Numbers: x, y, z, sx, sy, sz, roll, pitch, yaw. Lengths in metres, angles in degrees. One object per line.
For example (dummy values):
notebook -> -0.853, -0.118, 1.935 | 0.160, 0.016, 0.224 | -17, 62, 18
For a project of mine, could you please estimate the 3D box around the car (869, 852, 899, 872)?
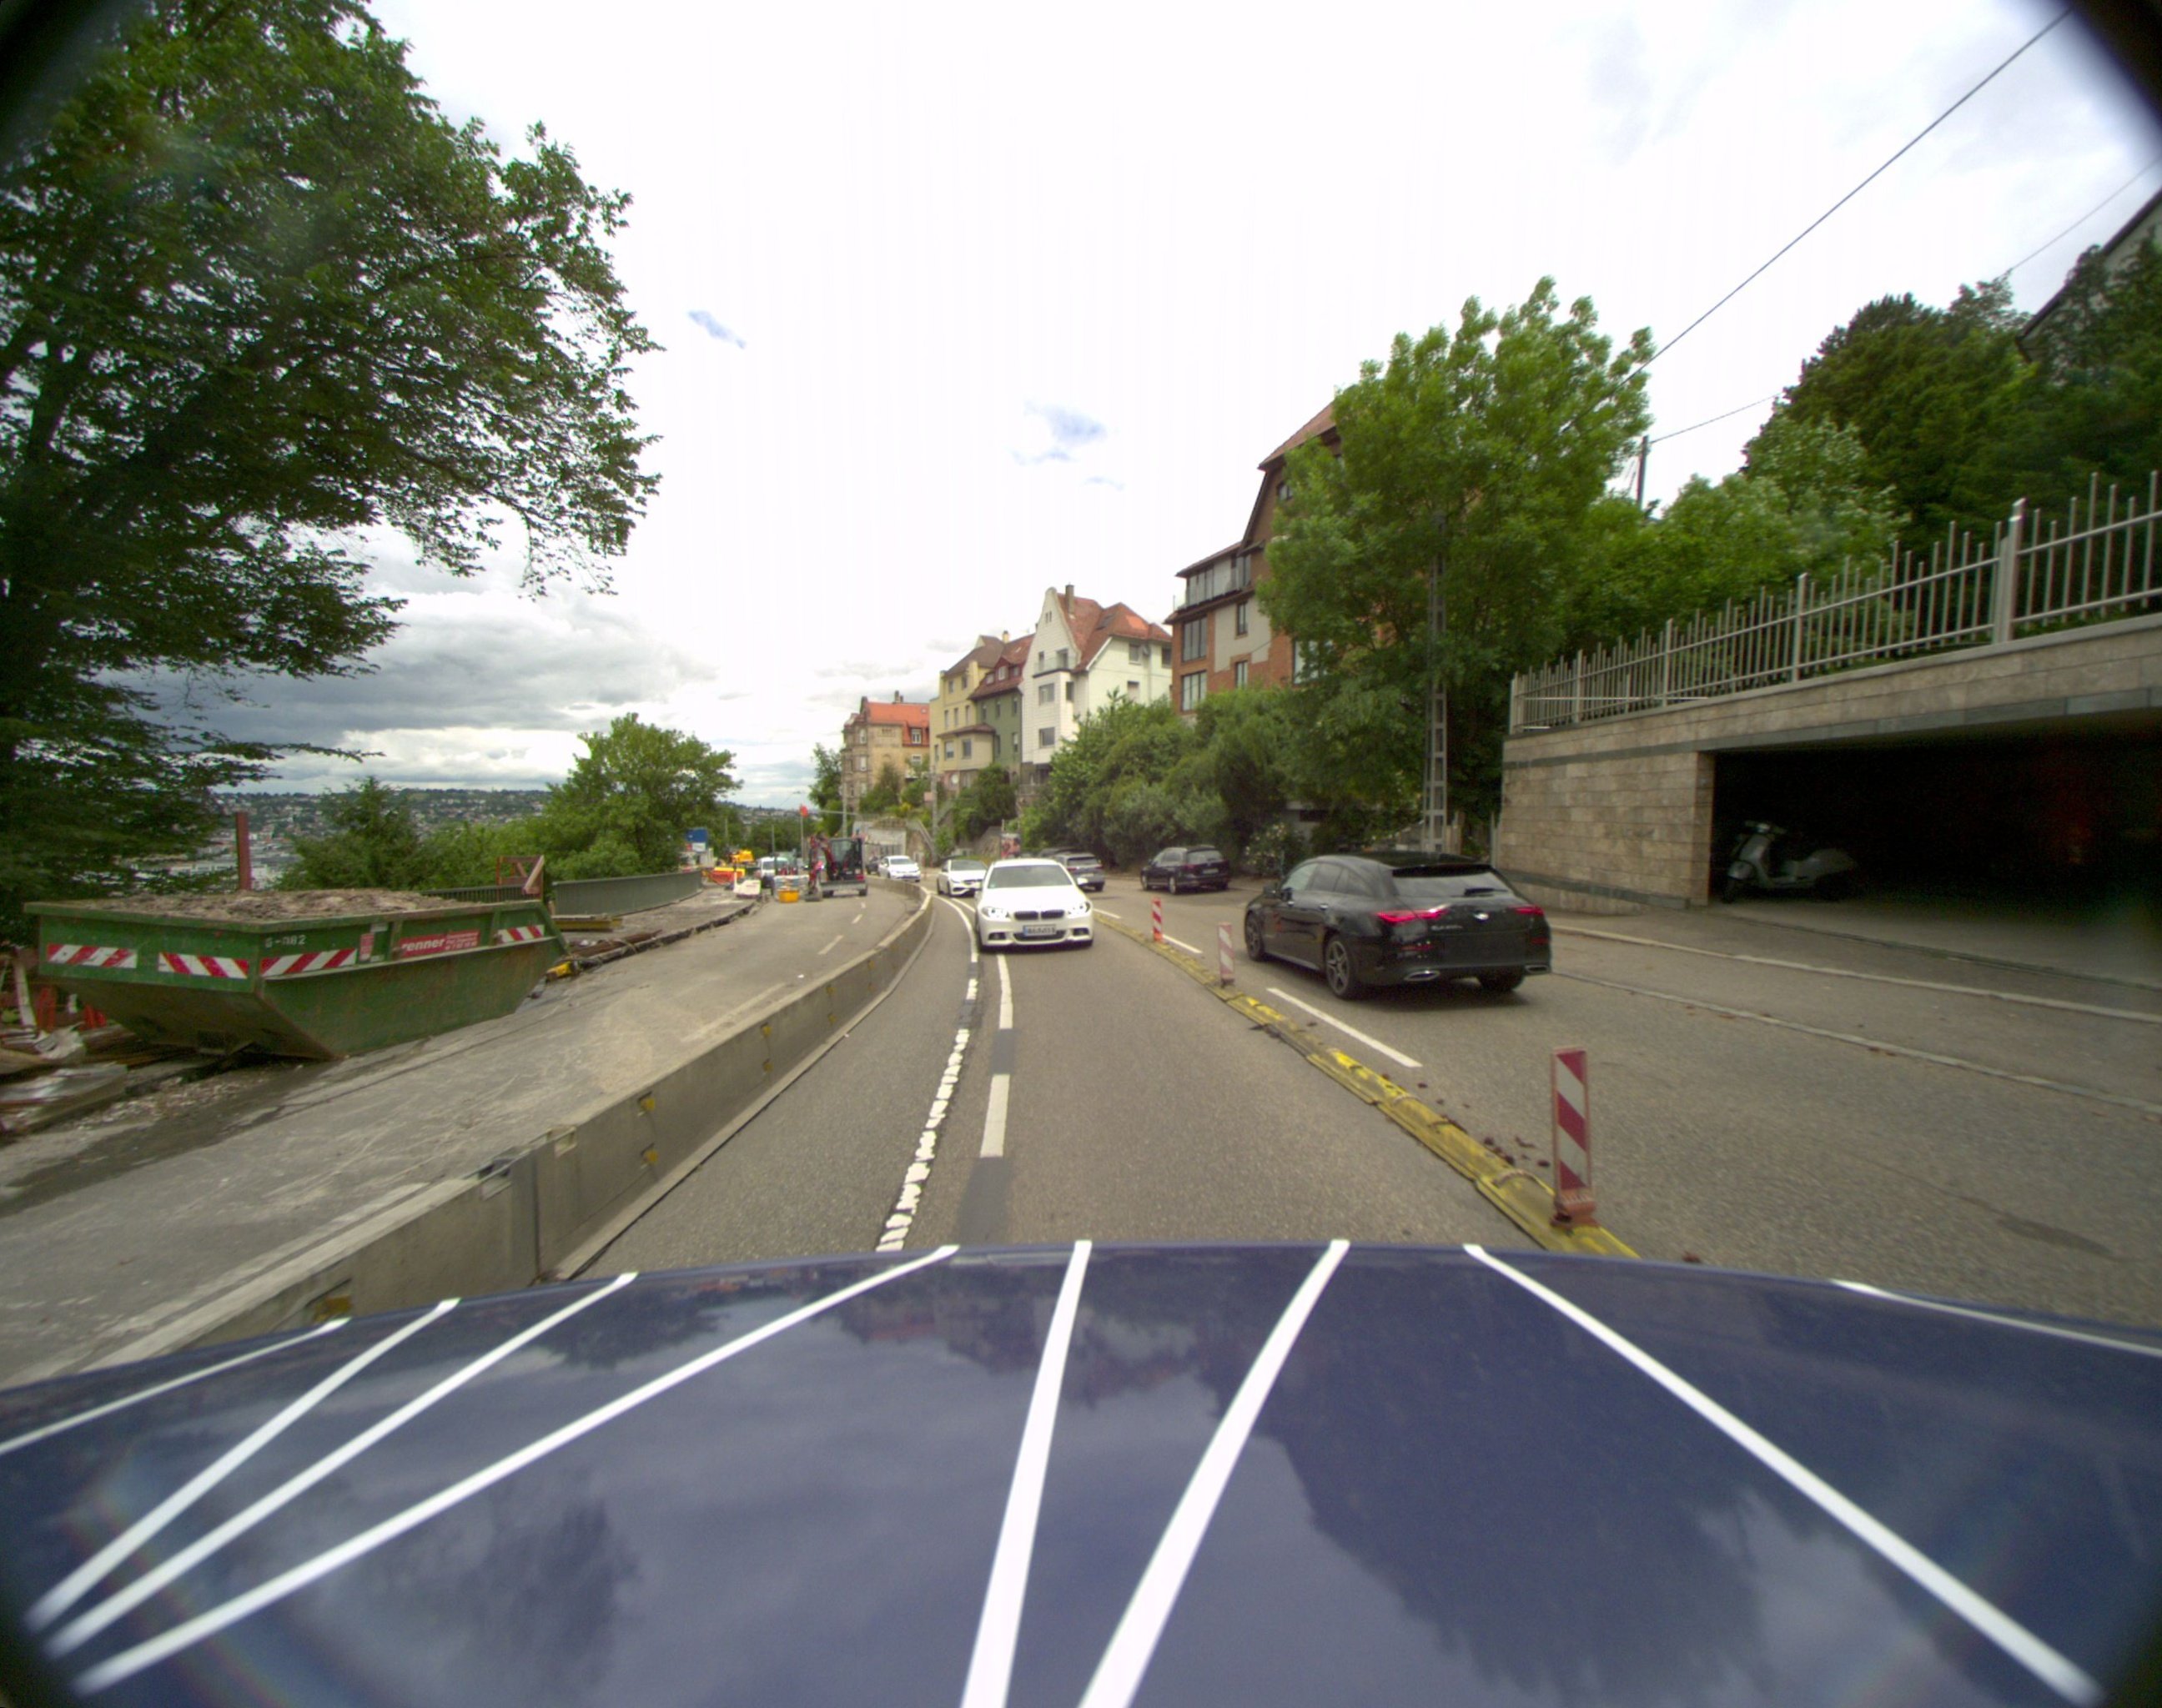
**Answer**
car -> -15.810, 0.622, 60.892 | 1.694, 1.499, 3.656 | -3, 1, -24

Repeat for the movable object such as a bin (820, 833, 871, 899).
movable object such as a bin -> -9.896, 0.466, 32.124 | 1.865, 2.580, 3.435 | -2, 1, -16

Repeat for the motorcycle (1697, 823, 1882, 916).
motorcycle -> 9.859, 0.207, 10.633 | 1.842, 1.177, 0.636 | -2, 5, 7

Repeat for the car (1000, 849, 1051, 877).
car -> -3.325, 0.495, 44.624 | 1.685, 1.409, 3.784 | -6, 2, -24

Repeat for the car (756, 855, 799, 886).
car -> -18.066, 0.960, 45.136 | 1.796, 1.676, 3.991 | -3, 1, -29

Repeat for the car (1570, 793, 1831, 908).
car -> 10.109, -0.190, 12.798 | 1.572, 1.596, 3.585 | -2, 5, 3

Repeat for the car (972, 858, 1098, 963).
car -> -1.007, 0.867, 13.925 | 1.854, 1.458, 4.875 | -2, 1, -8

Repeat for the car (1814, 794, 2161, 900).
car -> 14.942, -0.251, 12.556 | 1.746, 1.444, 3.996 | -1, 5, 1

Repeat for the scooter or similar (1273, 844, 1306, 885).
scooter or similar -> 6.627, 0.336, 24.214 | 0.406, 1.250, 0.962 | -6, 3, -24

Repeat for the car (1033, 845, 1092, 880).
car -> -0.993, 0.414, 39.190 | 1.771, 1.587, 3.785 | -6, 2, -20

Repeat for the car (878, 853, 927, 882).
car -> -10.675, 0.796, 45.241 | 1.889, 1.569, 3.991 | -3, 1, -26

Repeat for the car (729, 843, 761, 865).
car -> -33.928, -0.021, 76.757 | 2.003, 2.089, 4.059 | -3, 1, -37

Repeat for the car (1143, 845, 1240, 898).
car -> 3.517, 0.535, 24.956 | 1.825, 1.426, 3.711 | -6, 1, -13

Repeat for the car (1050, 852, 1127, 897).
car -> 0.176, 0.693, 27.622 | 1.801, 1.462, 4.195 | -2, 0, -14

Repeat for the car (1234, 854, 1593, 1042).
car -> 3.213, 0.774, 8.428 | 1.868, 1.445, 4.217 | -2, 1, -4

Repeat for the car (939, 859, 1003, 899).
car -> -4.368, 0.908, 29.650 | 1.801, 1.299, 4.093 | 0, 2, -18
